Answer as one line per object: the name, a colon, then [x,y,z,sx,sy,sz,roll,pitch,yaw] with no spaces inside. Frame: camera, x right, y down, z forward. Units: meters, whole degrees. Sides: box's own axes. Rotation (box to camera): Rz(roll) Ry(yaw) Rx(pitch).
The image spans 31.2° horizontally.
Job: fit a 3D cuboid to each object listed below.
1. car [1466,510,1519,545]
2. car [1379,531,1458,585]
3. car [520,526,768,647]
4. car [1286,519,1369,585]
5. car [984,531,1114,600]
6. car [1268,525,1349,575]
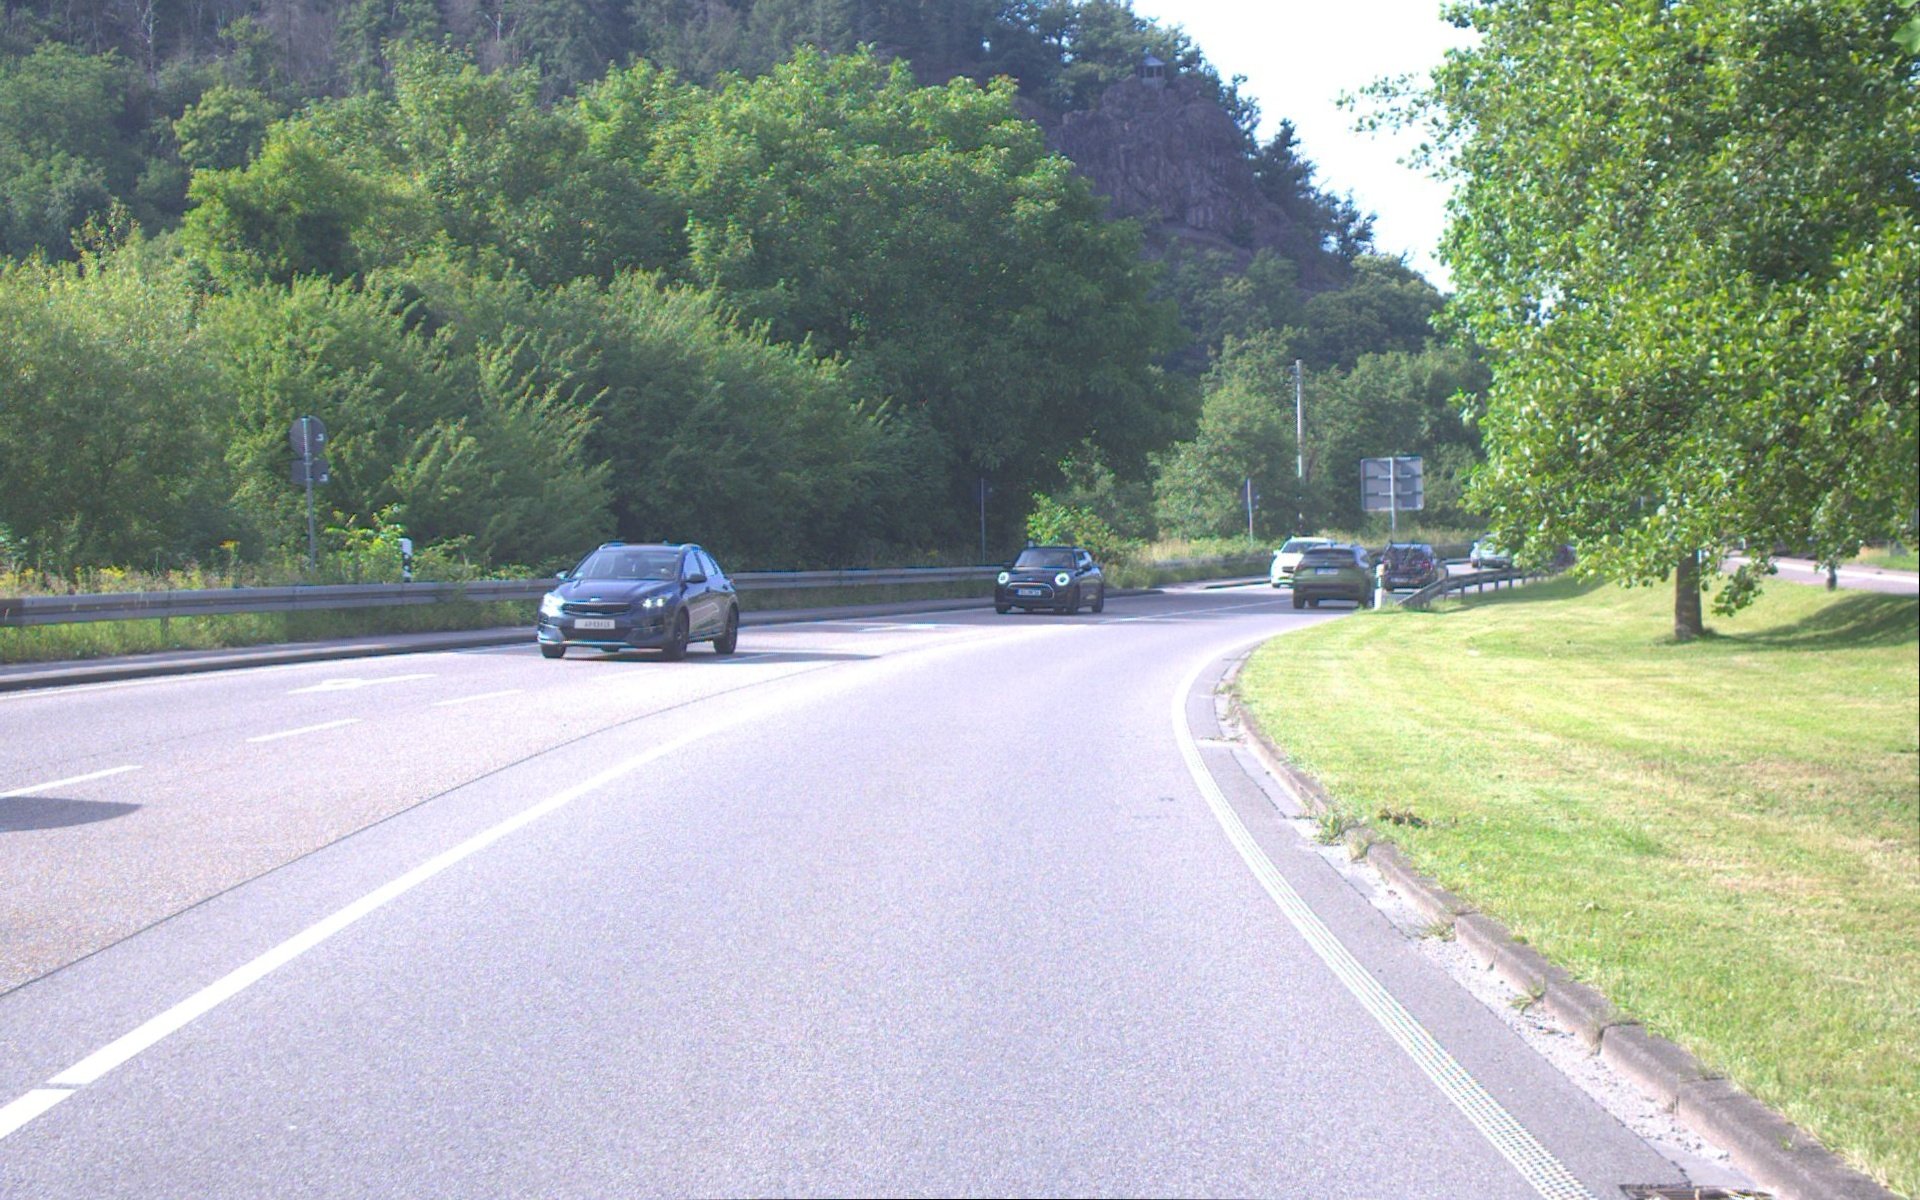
car: [22.445,-3.073,144.887,1.649,1.431,4.602,2,2,16]
car: [13.255,-1.236,99.184,1.841,1.454,3.711,-2,1,13]
car: [-4.048,-0.221,44.821,1.852,1.464,4.540,1,1,13]
car: [8.568,-1.137,80.031,1.729,1.452,3.409,-2,1,9]
car: [1.913,-0.749,72.508,1.695,1.397,4.199,0,1,17]
car: [10.825,-1.572,106.530,1.946,1.481,4.583,1,2,13]
